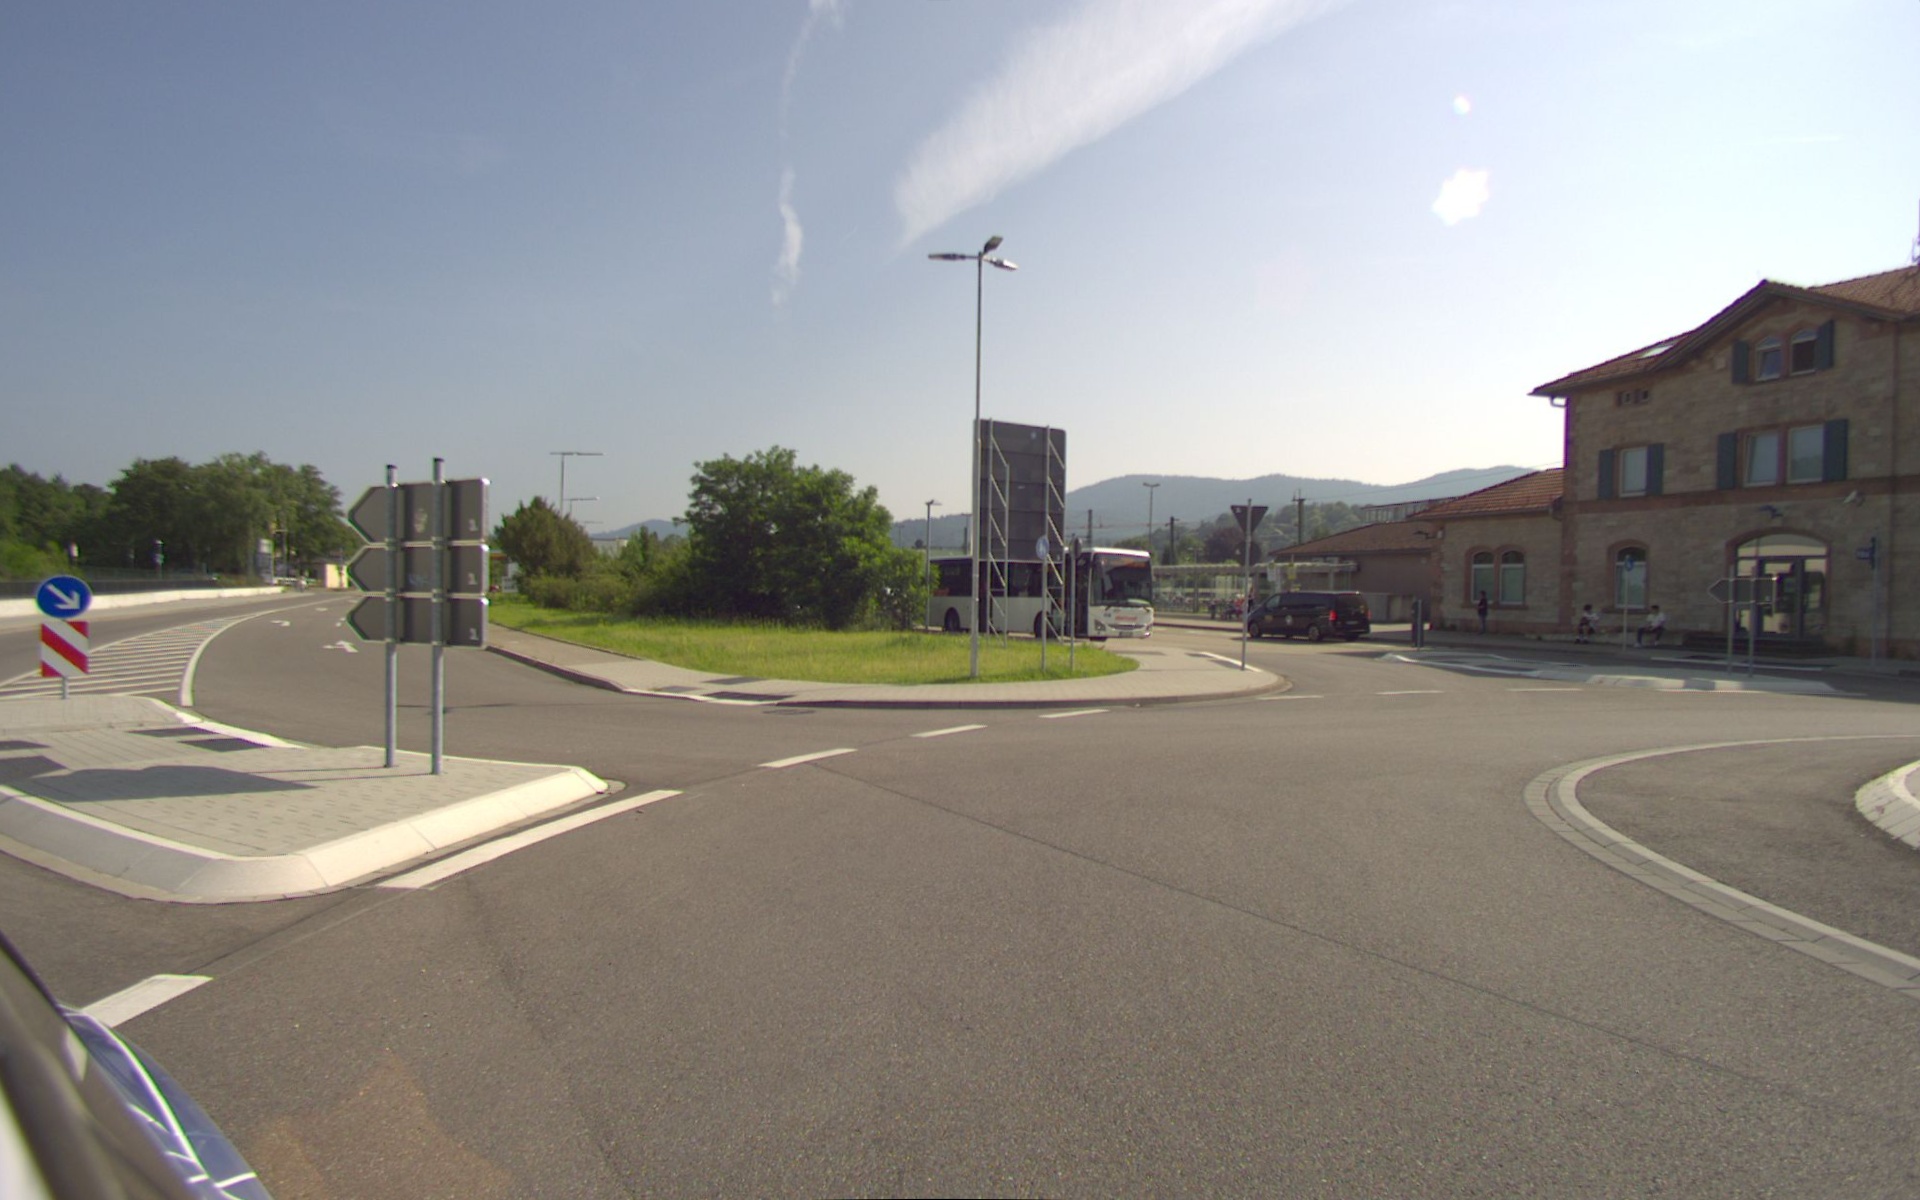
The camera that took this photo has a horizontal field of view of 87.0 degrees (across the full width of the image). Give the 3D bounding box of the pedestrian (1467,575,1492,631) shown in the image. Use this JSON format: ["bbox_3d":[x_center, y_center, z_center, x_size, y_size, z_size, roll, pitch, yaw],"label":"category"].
[{"bbox_3d":[19.100,0.103,37.211,0.522,2.029,0.578,1,0,-6],"label":"pedestrian"}]

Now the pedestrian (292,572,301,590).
[{"bbox_3d":[-66.082,-1.890,100.779,0.701,1.684,0.595,1,0,-33],"label":"pedestrian"}]

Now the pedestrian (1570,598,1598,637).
[{"bbox_3d":[19.925,0.562,32.327,0.435,1.213,0.586,1,0,-24],"label":"pedestrian"}]

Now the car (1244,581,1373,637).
[{"bbox_3d":[13.069,0.292,38.311,1.813,1.960,4.898,1,1,-22],"label":"car"}]

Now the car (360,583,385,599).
[{"bbox_3d":[-57.009,-0.907,98.240,1.747,1.484,4.234,1,1,-26],"label":"car"}]

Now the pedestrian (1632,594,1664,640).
[{"bbox_3d":[20.640,0.502,30.369,0.557,1.359,0.554,1,0,-21],"label":"pedestrian"}]

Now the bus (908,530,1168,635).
[{"bbox_3d":[2.228,-0.564,36.080,3.022,3.147,11.756,0,0,-31],"label":"bus"}]

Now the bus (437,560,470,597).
[{"bbox_3d":[-48.389,-2.048,96.547,2.584,3.335,11.996,1,1,-27],"label":"bus"}]
